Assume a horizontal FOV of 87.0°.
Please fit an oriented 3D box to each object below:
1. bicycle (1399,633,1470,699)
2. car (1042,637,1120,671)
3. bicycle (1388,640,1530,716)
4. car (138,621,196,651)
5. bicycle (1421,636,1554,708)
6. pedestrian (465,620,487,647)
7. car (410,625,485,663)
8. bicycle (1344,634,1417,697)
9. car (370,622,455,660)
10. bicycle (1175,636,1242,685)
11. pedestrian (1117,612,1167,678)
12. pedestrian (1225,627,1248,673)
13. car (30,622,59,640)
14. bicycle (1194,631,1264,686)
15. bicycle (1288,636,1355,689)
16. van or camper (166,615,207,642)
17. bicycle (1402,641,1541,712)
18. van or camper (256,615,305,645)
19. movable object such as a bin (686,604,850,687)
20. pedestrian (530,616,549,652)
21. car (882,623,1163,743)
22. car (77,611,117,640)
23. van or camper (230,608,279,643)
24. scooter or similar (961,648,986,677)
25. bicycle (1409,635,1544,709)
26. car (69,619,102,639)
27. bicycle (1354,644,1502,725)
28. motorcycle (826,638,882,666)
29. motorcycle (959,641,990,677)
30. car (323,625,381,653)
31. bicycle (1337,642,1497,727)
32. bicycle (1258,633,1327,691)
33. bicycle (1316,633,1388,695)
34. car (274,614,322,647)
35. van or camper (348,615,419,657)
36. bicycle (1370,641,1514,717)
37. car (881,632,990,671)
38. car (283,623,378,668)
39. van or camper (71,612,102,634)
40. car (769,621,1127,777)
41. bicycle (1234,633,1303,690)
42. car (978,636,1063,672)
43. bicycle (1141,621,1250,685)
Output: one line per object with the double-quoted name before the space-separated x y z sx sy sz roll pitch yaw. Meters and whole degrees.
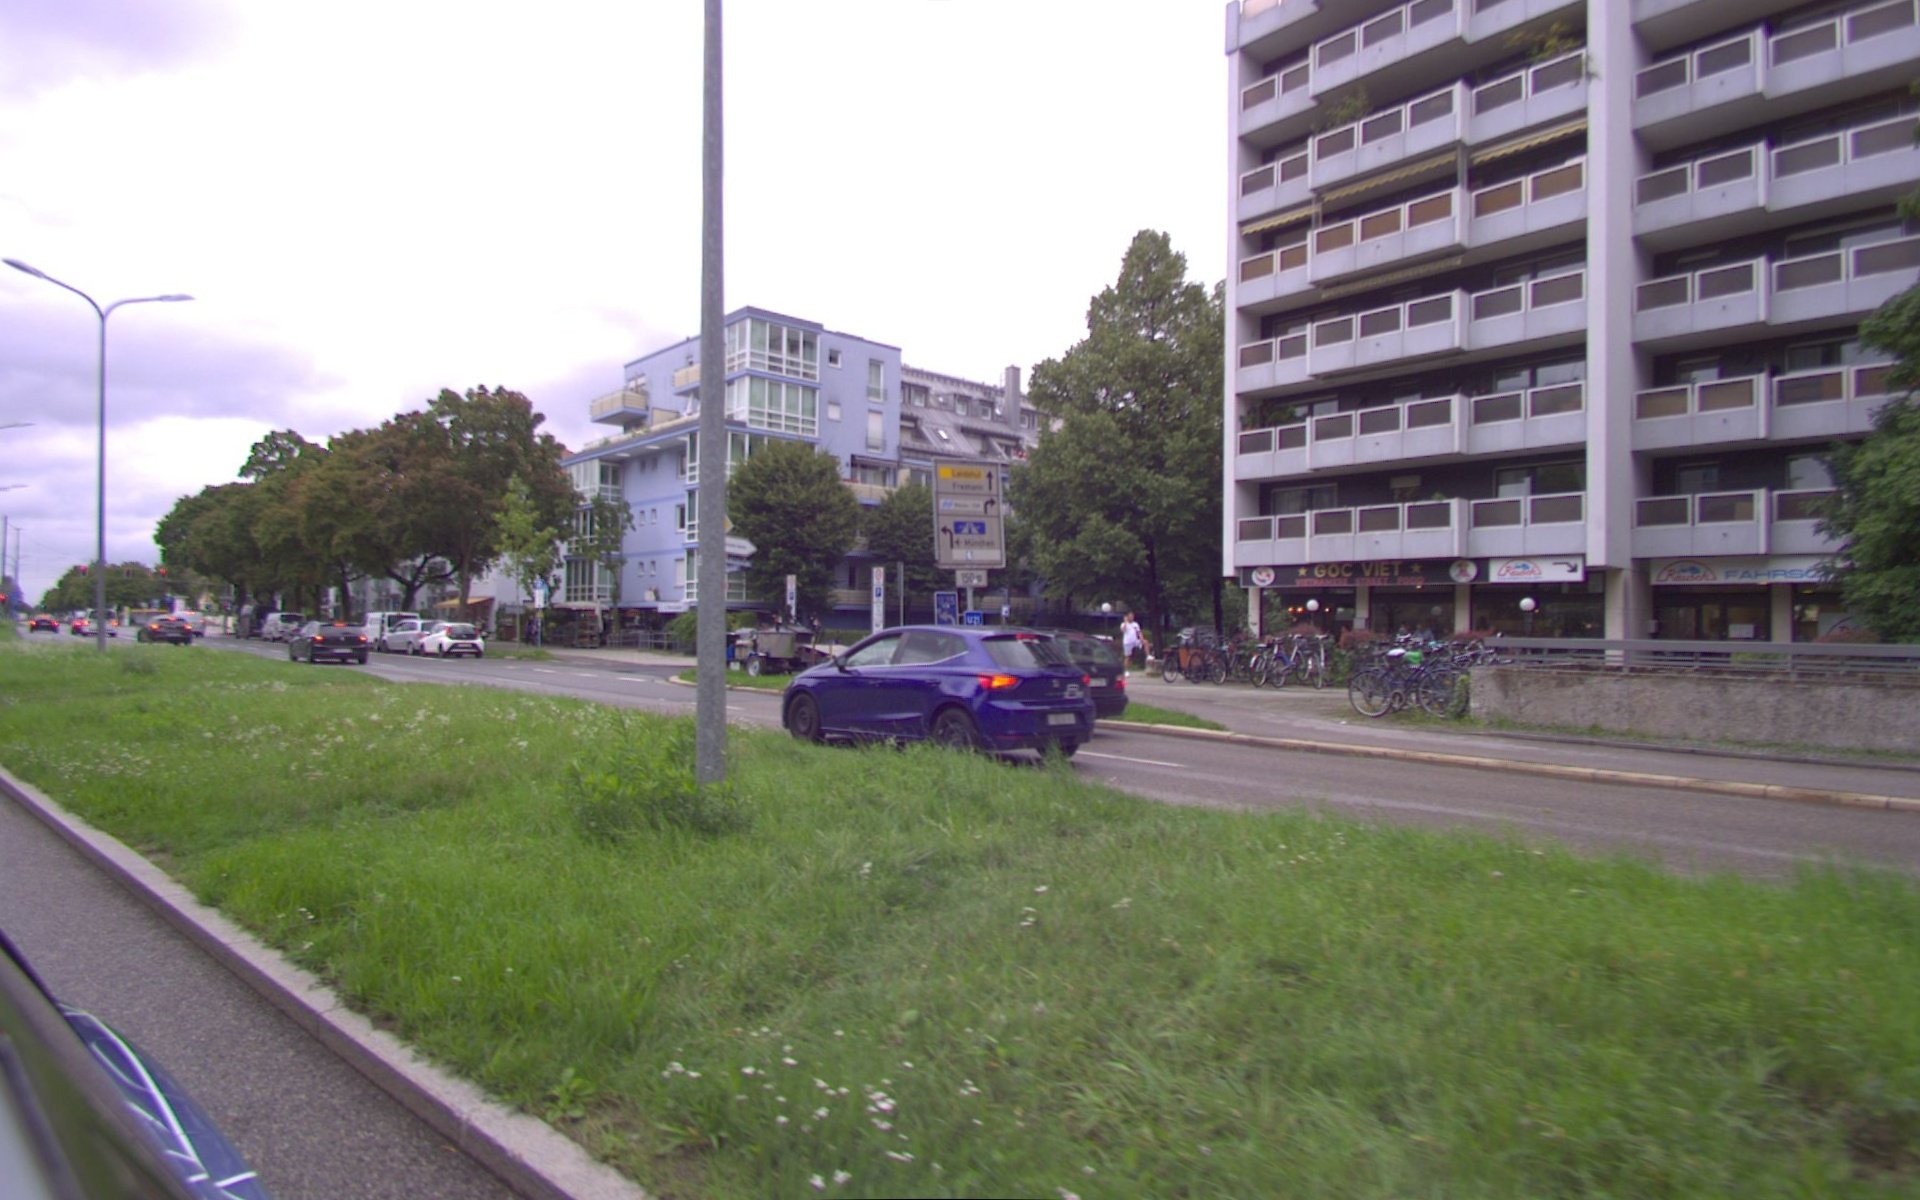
"bicycle" 9.406 1.274 20.012 1.924 1.111 0.490 -4 1 -41
"car" 6.449 2.829 53.662 2.001 1.695 4.199 -1 -3 45
"bicycle" 7.784 1.186 15.869 0.403 1.081 1.957 -3 1 -41
"car" -40.539 1.838 51.720 1.934 1.491 4.263 3 -3 -43
"bicycle" 8.888 1.188 17.128 0.403 1.105 1.957 -3 1 -41
"pedestrian" -30.242 2.097 63.231 0.963 1.615 0.766 1 -2 4
"car" -21.613 1.841 42.638 3.904 1.501 1.628 -1 -3 45
"bicycle" 8.696 1.328 20.891 1.924 1.111 0.561 -4 1 -41
"car" -24.990 1.840 46.136 4.658 1.628 1.682 -1 -3 39
"bicycle" 5.968 1.433 24.235 1.923 1.112 0.561 2 -3 -40
"pedestrian" 4.845 1.190 27.004 1.130 1.721 0.661 -1 -3 41
"pedestrian" 10.040 1.805 36.747 0.700 1.611 0.742 0 -2 27
"car" -77.339 2.624 85.501 1.736 1.459 3.675 3 -3 -43
"bicycle" 6.338 1.347 23.777 1.924 1.111 0.561 -4 1 -41
"bicycle" 7.839 1.335 21.912 1.923 1.112 0.490 2 -3 -40
"van or camper" -61.609 2.248 80.556 1.992 2.031 5.203 3 -3 -44
"bicycle" 8.193 1.199 16.280 0.403 1.038 1.957 -3 1 -41
"van or camper" -46.347 2.060 69.015 1.997 1.957 4.708 3 -3 -43
"movable object such as a bin" -5.029 1.148 26.294 3.997 1.968 2.170 -1 -3 41
"pedestrian" -21.149 1.701 50.908 0.634 1.819 0.780 3 -3 -43
"car" 0.798 1.105 14.714 1.672 1.495 3.970 3 -3 -45
"car" -62.170 1.819 72.868 1.916 2.013 4.708 3 -3 -43
"van or camper" -52.941 1.925 75.882 2.026 2.506 5.552 3 -3 -45
"scooter or similar" 0.469 2.100 34.109 0.440 0.966 1.142 0 -2 24
"bicycle" 8.521 1.159 16.768 0.403 1.112 1.957 -3 1 -41
"car" -68.652 2.275 79.409 1.770 1.459 3.675 3 -3 -43
"bicycle" 6.909 1.218 15.036 0.403 1.086 1.957 -3 1 -41
"motorcycle" -4.611 2.242 43.980 2.457 1.141 0.495 0 -2 18
"motorcycle" 0.444 1.855 32.157 0.412 1.095 1.789 1 -2 -18
"car" -32.889 2.095 54.679 4.337 1.405 1.656 -1 -3 45
"bicycle" 6.563 1.183 14.641 0.403 1.097 2.087 -3 1 -41
"bicycle" 7.390 1.349 22.436 1.924 1.111 0.490 -4 1 -41
"bicycle" 8.322 1.332 21.447 1.924 1.111 0.561 -4 1 -41
"car" -42.255 1.962 64.571 1.775 2.013 4.550 3 -3 -43
"van or camper" -28.588 1.743 50.111 1.784 1.983 5.215 3 -3 -44
"bicycle" 7.354 1.183 15.528 0.403 1.048 1.957 -3 1 -41
"car" -1.080 2.351 46.813 2.001 1.695 5.043 -1 -3 45
"car" -21.301 1.501 34.184 4.103 1.416 1.762 -1 -3 45
"van or camper" -74.369 1.975 86.171 1.770 1.811 4.128 3 -3 -43
"car" -0.271 0.955 11.181 1.672 1.413 3.970 3 -3 -45
"bicycle" 7.011 1.378 22.935 1.924 1.111 0.490 -4 1 -41
"car" 3.063 2.695 50.968 2.001 1.695 4.199 -1 -3 45
"bicycle" 5.895 1.275 25.155 3.286 1.293 0.789 -4 1 -41
